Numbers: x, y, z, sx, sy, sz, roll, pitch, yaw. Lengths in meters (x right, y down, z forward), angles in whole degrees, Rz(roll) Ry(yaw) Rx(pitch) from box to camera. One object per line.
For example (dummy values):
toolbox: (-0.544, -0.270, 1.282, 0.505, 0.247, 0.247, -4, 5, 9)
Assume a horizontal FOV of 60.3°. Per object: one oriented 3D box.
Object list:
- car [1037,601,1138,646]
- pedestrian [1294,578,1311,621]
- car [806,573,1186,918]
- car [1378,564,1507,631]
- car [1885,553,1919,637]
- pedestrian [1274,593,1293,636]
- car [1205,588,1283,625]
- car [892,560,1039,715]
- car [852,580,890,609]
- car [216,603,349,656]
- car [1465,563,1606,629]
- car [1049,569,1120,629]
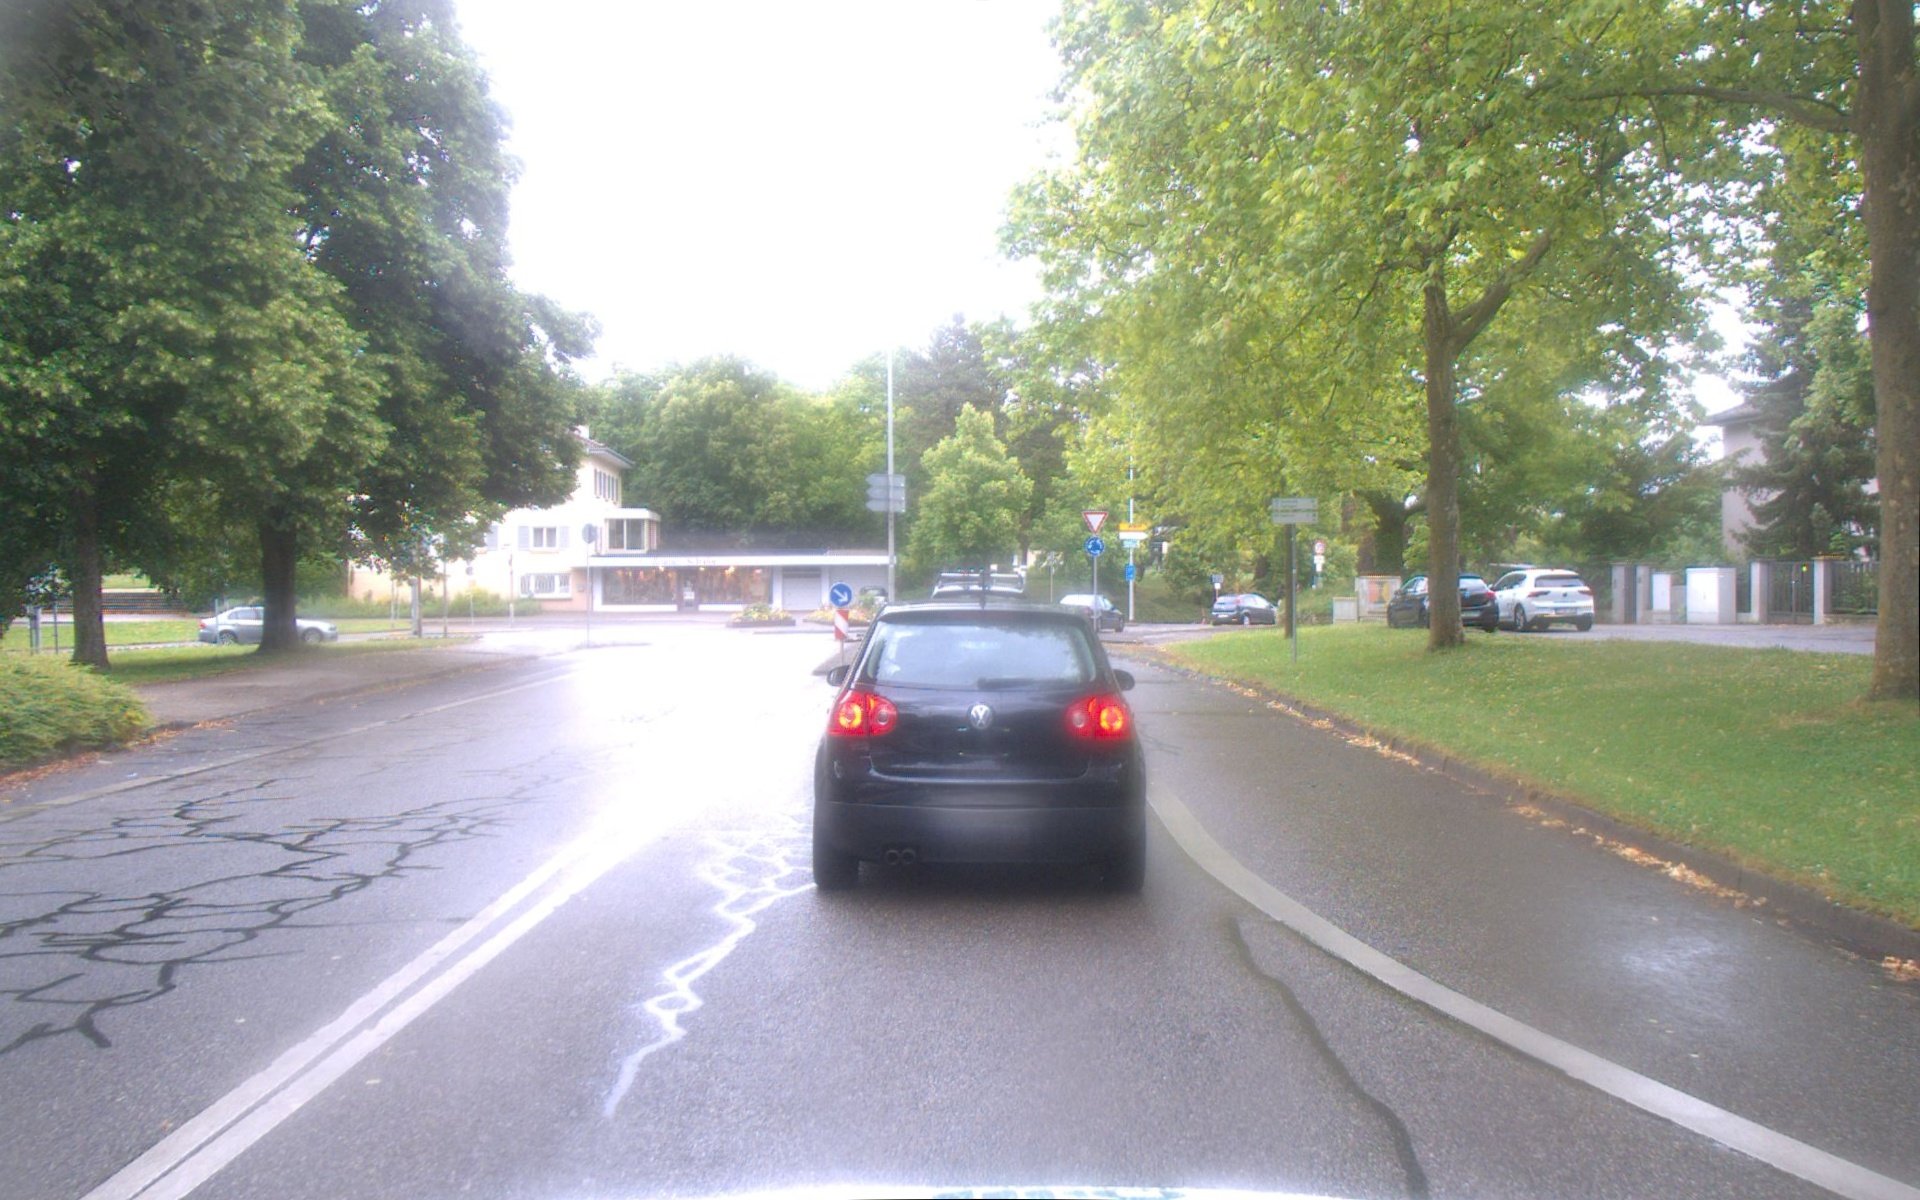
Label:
car: (4.678, 0.847, 60.086, 1.959, 1.557, 3.987, 1, 0, 34)
pedestrian: (13.965, -0.031, 67.448, 0.620, 1.743, 0.530, 1, -1, 16)
car: (0.131, 0.680, 9.647, 1.729, 1.565, 3.999, 1, 0, -1)
car: (11.870, -0.058, 41.020, 1.728, 1.497, 4.597, -2, 0, -1)
car: (17.964, -0.101, 28.184, 1.725, 1.497, 4.353, -1, 0, -4)
pedestrian: (13.065, 0.590, 66.820, 0.519, 1.743, 0.633, 1, -1, -14)
car: (12.525, 0.312, 72.782, 1.959, 1.557, 3.987, 1, 0, 34)
car: (0.031, 0.458, 22.052, 1.729, 1.833, 4.245, -1, 0, -1)
car: (-4.805, -0.296, 89.308, 1.778, 1.512, 3.825, -1, 1, -7)
car: (-23.358, 1.001, 57.150, 3.952, 1.713, 1.992, 1, 0, -15)
car: (14.276, -0.091, 41.311, 1.808, 1.497, 4.424, -2, 0, -2)
car: (3.886, -0.019, 52.143, 1.952, 1.772, 4.144, 1, 0, 1)
